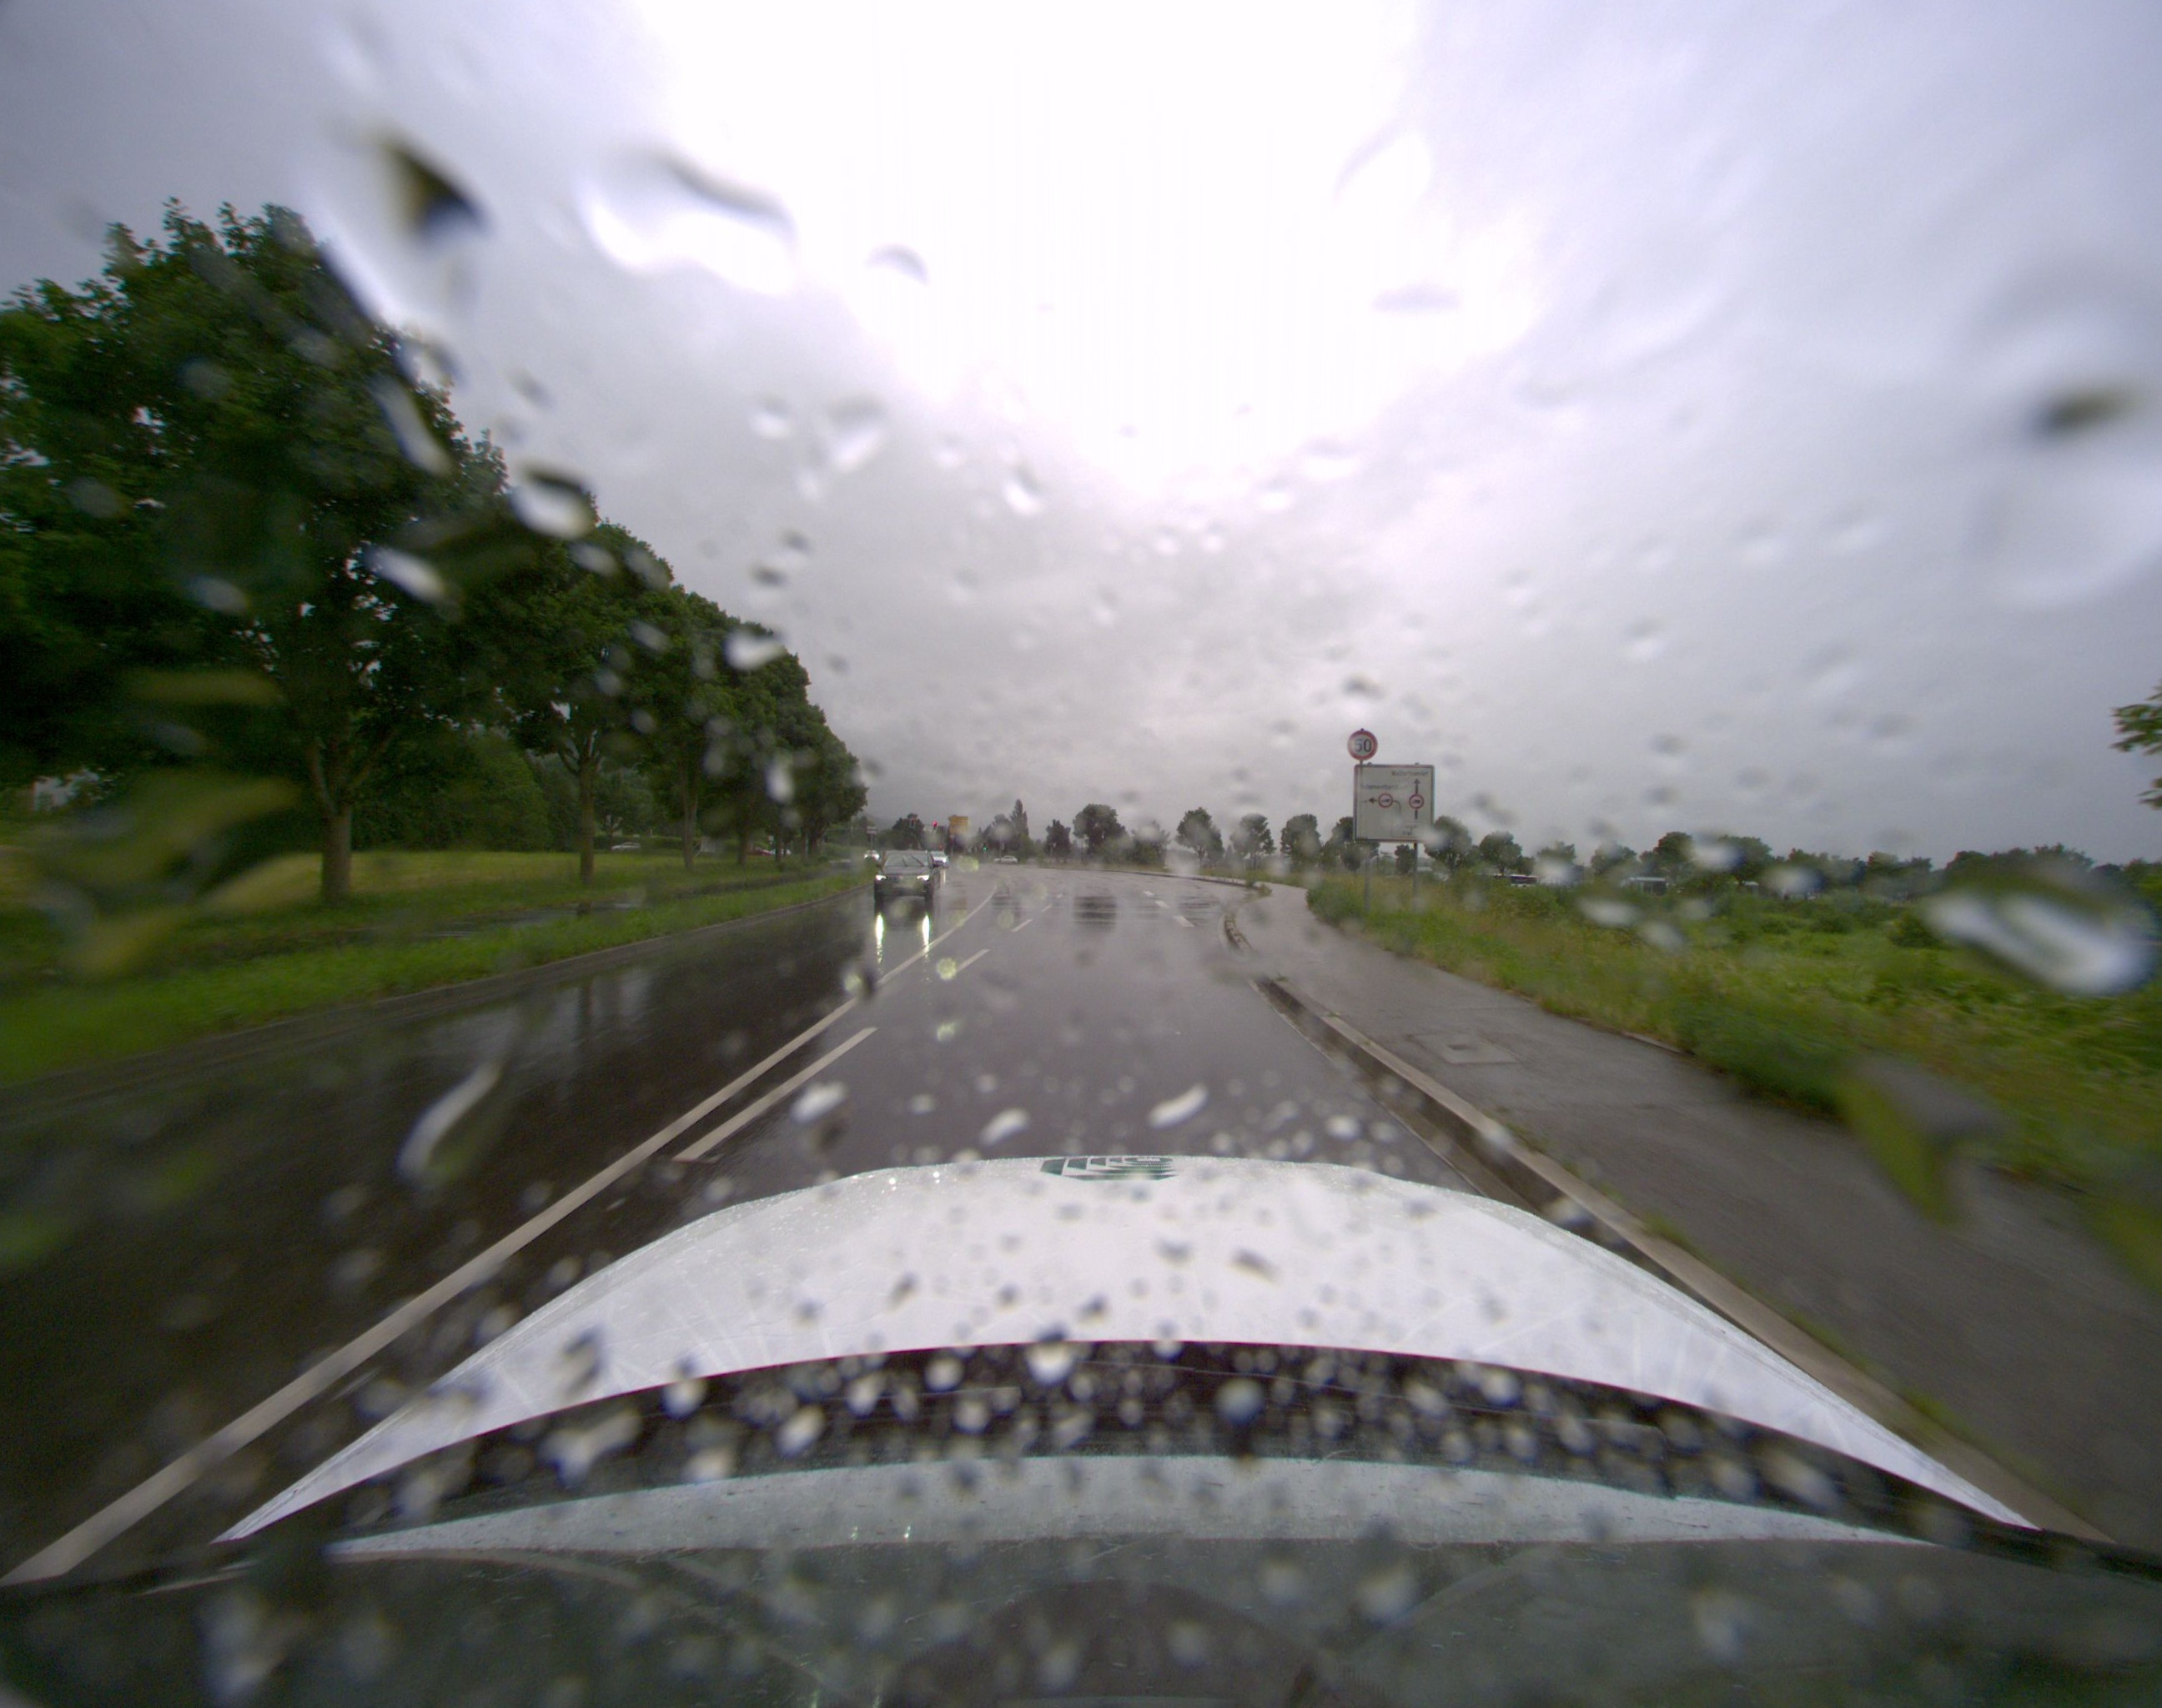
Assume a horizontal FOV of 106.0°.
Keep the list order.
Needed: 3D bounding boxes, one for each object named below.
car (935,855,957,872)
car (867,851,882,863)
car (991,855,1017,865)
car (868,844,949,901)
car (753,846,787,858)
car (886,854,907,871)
[{"bbox_3d":[-11.847,0.810,71.670,1.737,1.487,4.001,0,0,-7],"label":"car"},{"bbox_3d":[-27.733,0.354,109.311,1.882,1.573,4.620,0,0,-16],"label":"car"},{"bbox_3d":[-13.583,1.097,144.452,4.379,1.579,1.725,2,0,-13],"label":"car"},{"bbox_3d":[-5.687,0.580,27.354,1.919,1.743,4.285,0,0,-2],"label":"car"},{"bbox_3d":[-45.860,-0.281,120.249,4.379,1.579,1.725,2,0,-13],"label":"car"},{"bbox_3d":[-18.767,0.832,83.015,1.885,1.587,4.102,3,-1,-12],"label":"car"}]
